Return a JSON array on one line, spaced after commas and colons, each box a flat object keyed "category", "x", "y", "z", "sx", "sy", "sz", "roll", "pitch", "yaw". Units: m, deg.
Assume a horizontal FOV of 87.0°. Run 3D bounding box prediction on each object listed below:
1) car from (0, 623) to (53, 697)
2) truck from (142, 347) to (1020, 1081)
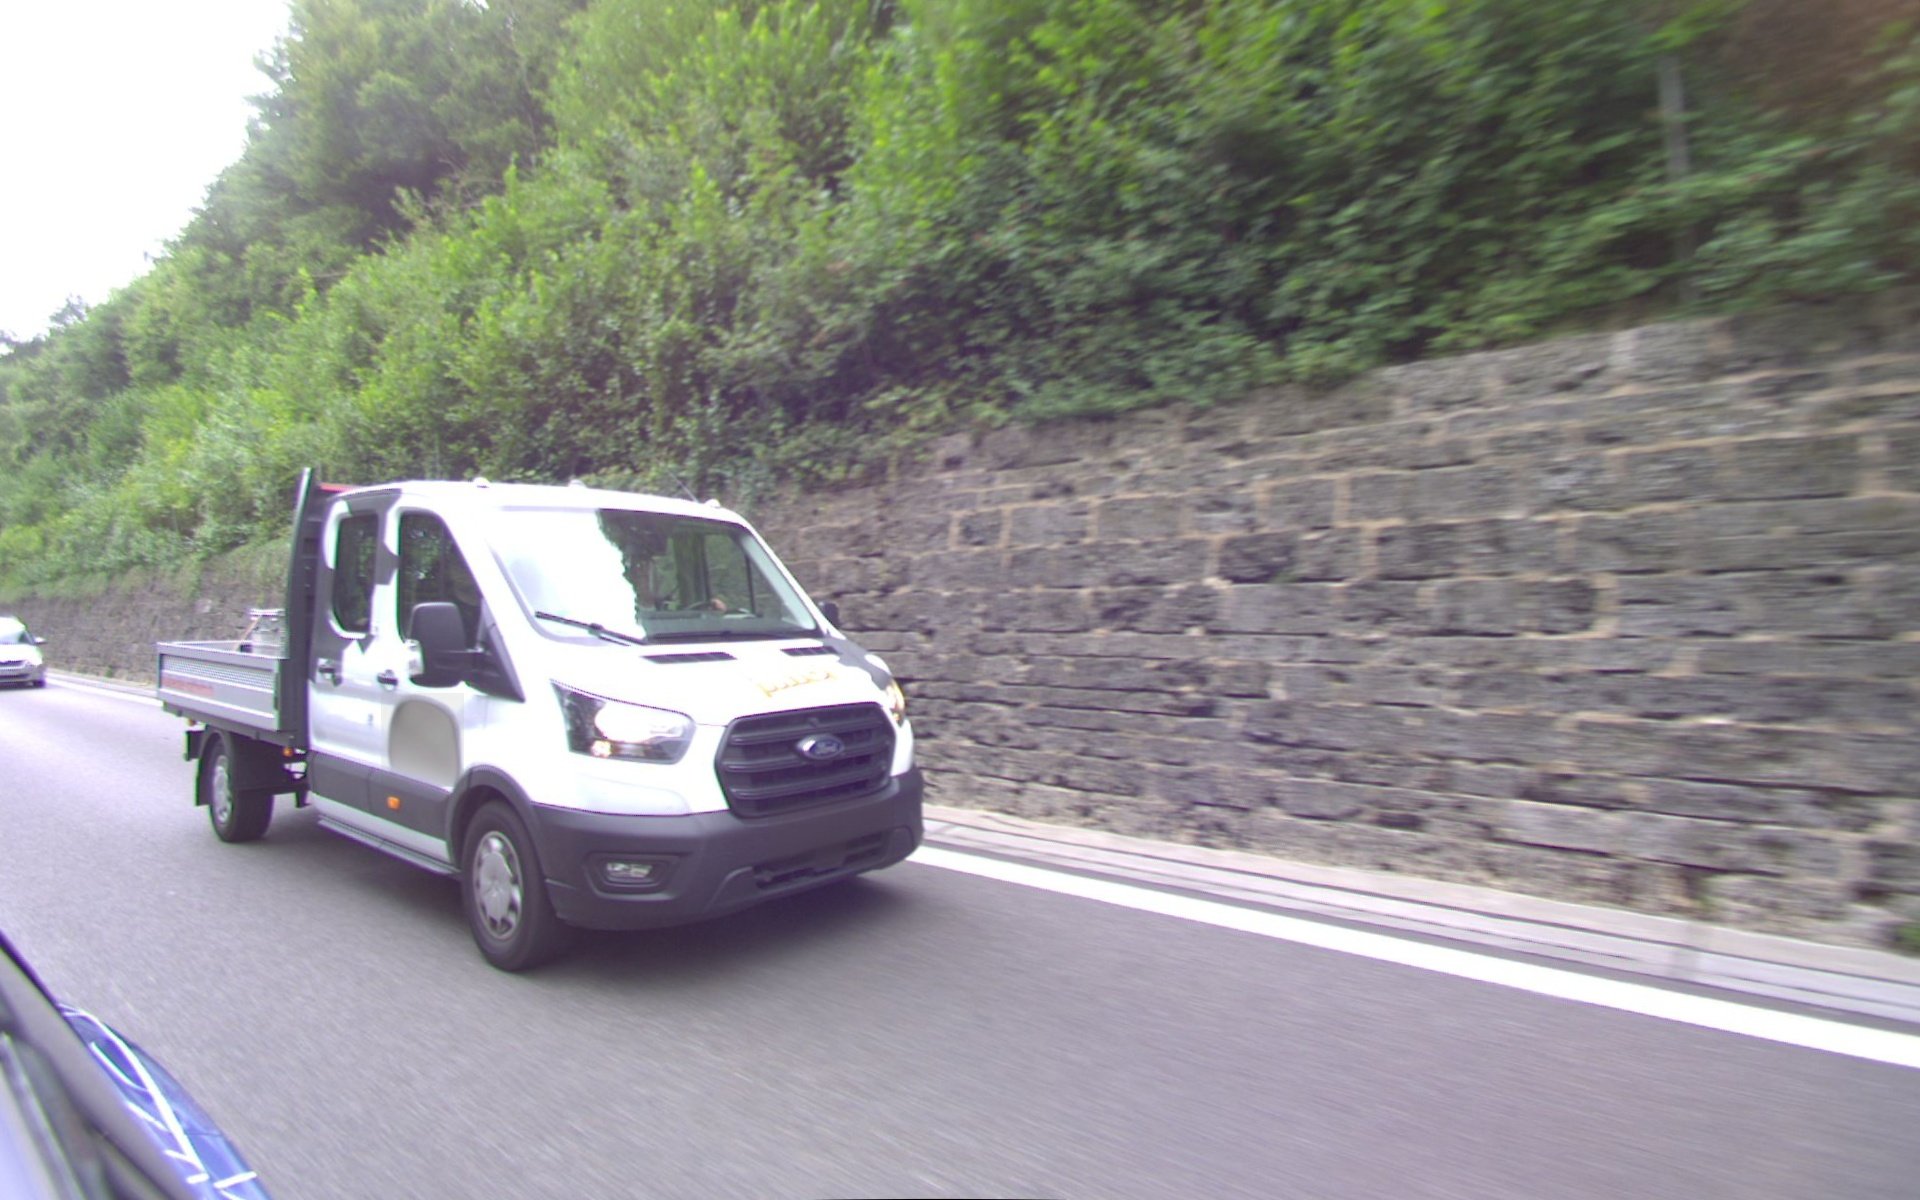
[{"category": "car", "x": -22.643, "y": 1.366, "z": 23.547, "sx": 4.599, "sy": 1.589, "sz": 1.689, "roll": -2, "pitch": -1, "yaw": 40}, {"category": "truck", "x": -2.876, "y": 0.420, "z": 6.068, "sx": 6.581, "sy": 2.297, "sz": 1.973, "roll": -2, "pitch": -1, "yaw": 40}]
